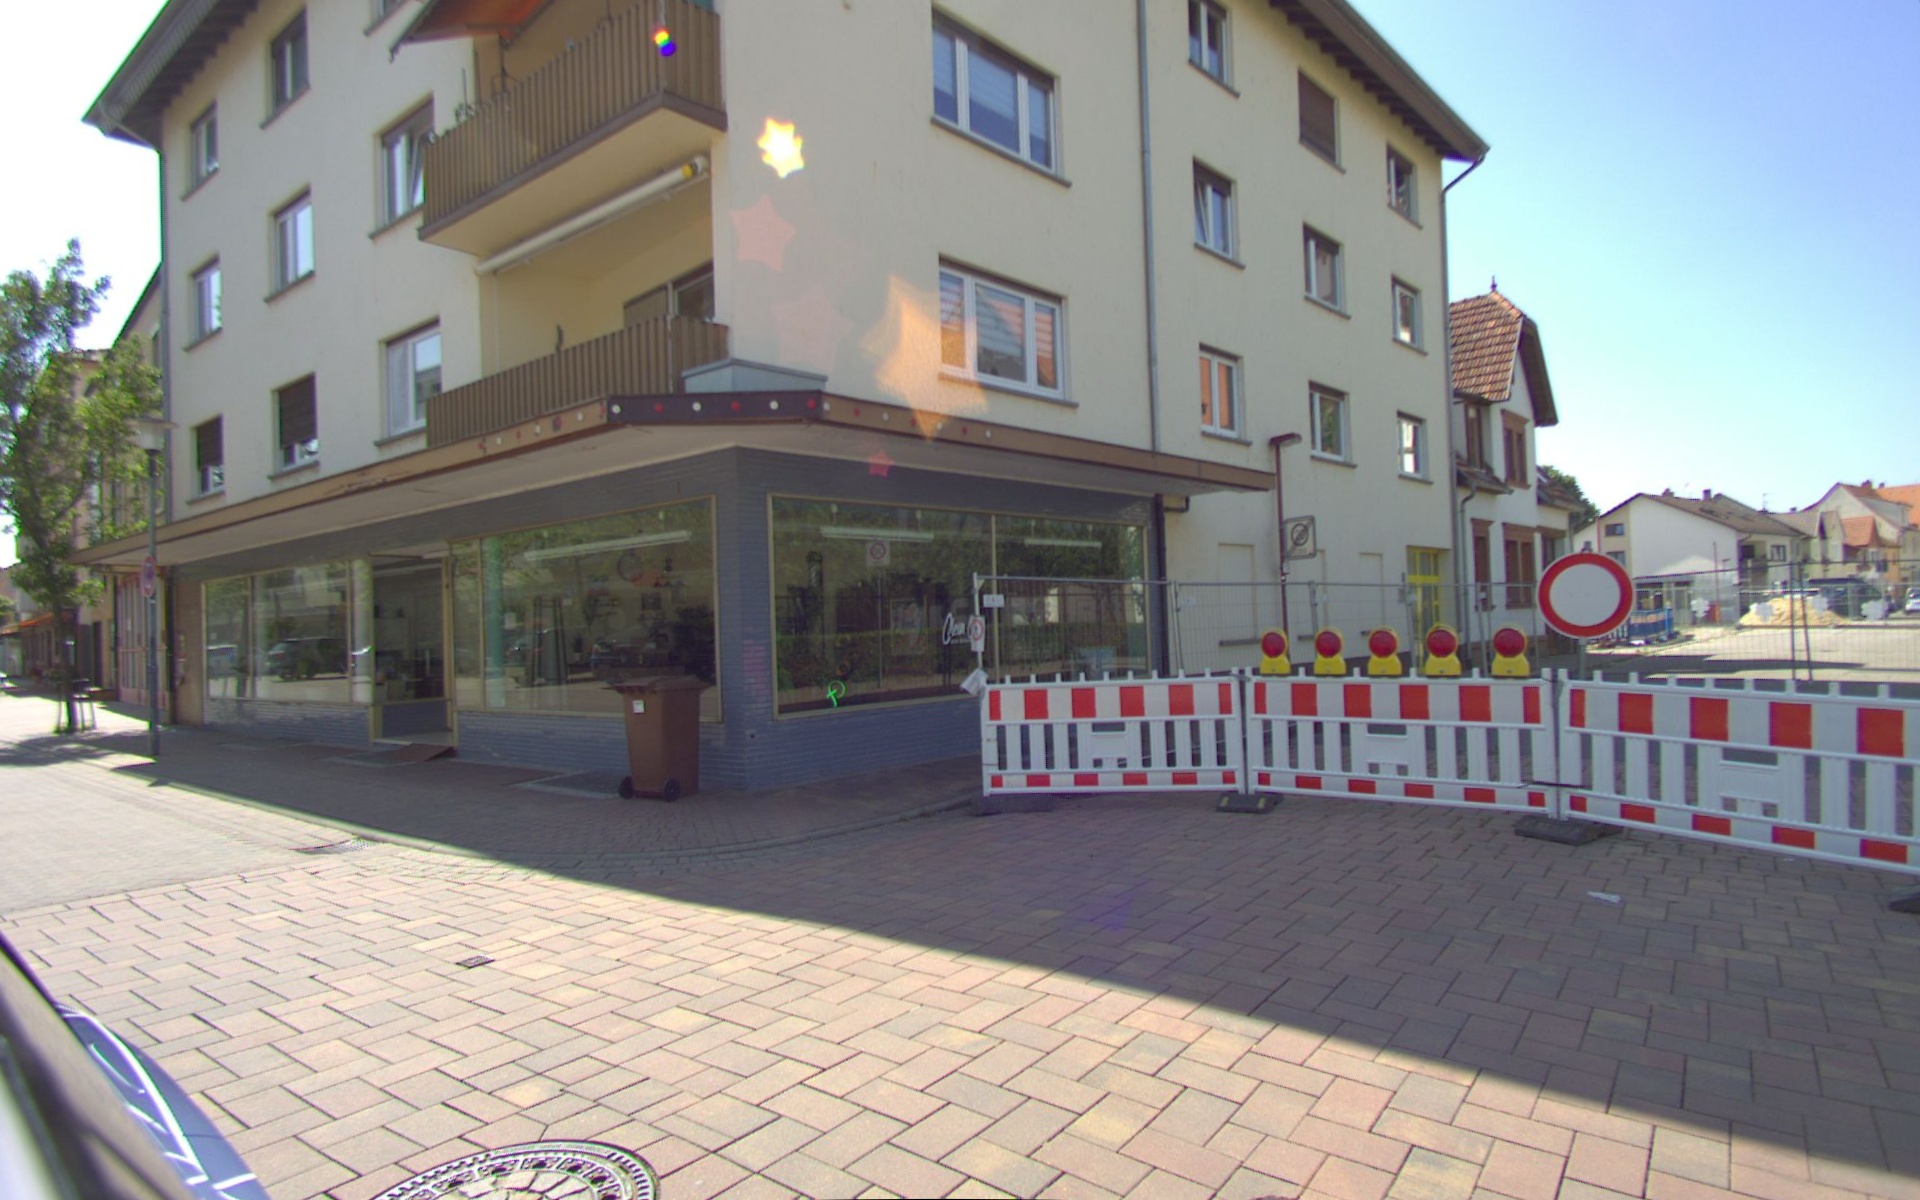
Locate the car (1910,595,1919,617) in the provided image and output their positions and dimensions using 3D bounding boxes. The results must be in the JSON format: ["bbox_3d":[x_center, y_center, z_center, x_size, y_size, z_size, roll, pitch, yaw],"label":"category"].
[{"bbox_3d":[67.087,0.350,69.931,1.813,1.475,3.893,-3,-2,39],"label":"car"}]

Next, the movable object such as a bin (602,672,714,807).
[{"bbox_3d":[-2.660,1.202,8.930,0.661,1.078,0.650,-3,-1,32],"label":"movable object such as a bin"}]
